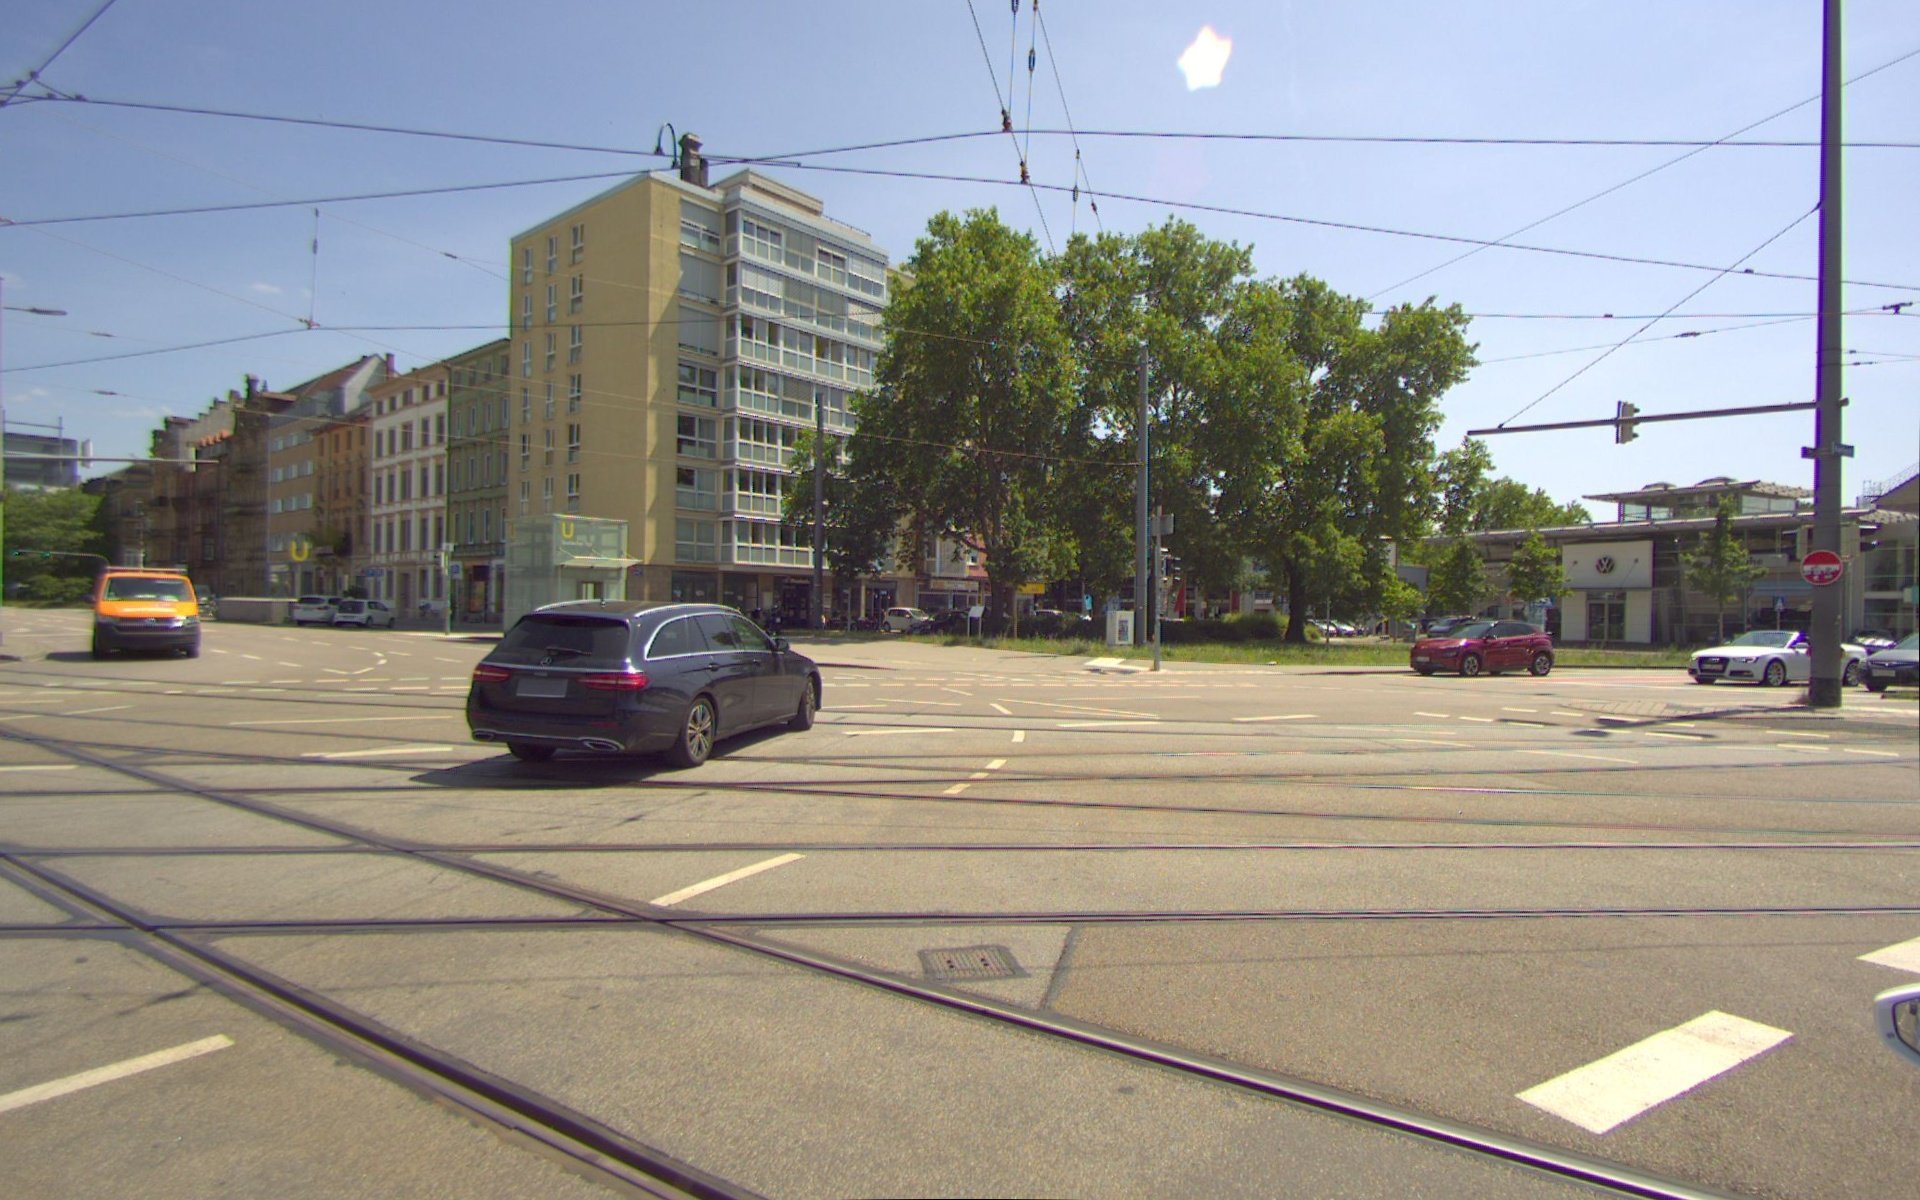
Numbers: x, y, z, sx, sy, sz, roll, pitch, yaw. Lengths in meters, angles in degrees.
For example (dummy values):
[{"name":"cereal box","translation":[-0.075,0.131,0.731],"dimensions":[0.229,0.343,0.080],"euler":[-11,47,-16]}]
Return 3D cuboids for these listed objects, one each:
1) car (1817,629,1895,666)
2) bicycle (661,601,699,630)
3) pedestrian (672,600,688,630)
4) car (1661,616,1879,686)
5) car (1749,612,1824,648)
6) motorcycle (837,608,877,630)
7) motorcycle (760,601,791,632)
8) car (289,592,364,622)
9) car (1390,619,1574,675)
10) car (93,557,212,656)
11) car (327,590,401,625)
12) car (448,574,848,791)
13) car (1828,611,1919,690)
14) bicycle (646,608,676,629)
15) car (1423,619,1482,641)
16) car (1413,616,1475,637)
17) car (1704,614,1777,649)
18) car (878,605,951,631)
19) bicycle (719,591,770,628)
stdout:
[{"name":"car","translation":[46.222,2.469,51.824],"dimensions":[3.956,1.730,1.910],"euler":[2,1,-32]},{"name":"bicycle","translation":[-14.069,0.785,50.583],"dimensions":[0.598,1.135,1.596],"euler":[1,-11,45]},{"name":"pedestrian","translation":[-14.091,0.760,50.506],"dimensions":[0.678,1.506,0.301],"euler":[1,0,-42]},{"name":"car","translation":[20.476,1.266,25.409],"dimensions":[4.771,1.601,2.074],"euler":[1,0,-19]},{"name":"car","translation":[44.561,1.625,54.172],"dimensions":[3.956,1.730,1.910],"euler":[2,1,-32]},{"name":"motorcycle","translation":[-4.850,0.874,47.299],"dimensions":[1.885,0.974,0.525],"euler":[1,0,28]},{"name":"motorcycle","translation":[-7.766,0.656,42.132],"dimensions":[0.949,1.238,2.801],"euler":[1,0,-17]},{"name":"car","translation":[-33.823,0.354,53.757],"dimensions":[1.804,1.530,3.996],"euler":[1,0,-6]},{"name":"car","translation":[15.021,1.342,28.936],"dimensions":[4.771,1.485,1.992],"euler":[1,0,-19]},{"name":"car","translation":[-19.031,0.137,23.860],"dimensions":[1.981,2.085,4.820],"euler":[1,0,-37]},{"name":"car","translation":[-31.214,0.385,52.728],"dimensions":[1.804,1.773,3.996],"euler":[1,0,-6]},{"name":"car","translation":[-2.829,0.627,10.478],"dimensions":[1.767,1.662,4.807],"euler":[2,1,13]},{"name":"car","translation":[22.453,1.136,22.701],"dimensions":[4.766,1.659,1.994],"euler":[1,0,-15]},{"name":"bicycle","translation":[-15.255,0.958,51.213],"dimensions":[0.426,1.040,1.436],"euler":[1,0,41]},{"name":"car","translation":[35.342,2.161,72.078],"dimensions":[4.278,1.530,1.757],"euler":[1,0,-32]},{"name":"car","translation":[37.778,2.029,78.506],"dimensions":[4.243,1.530,1.772],"euler":[1,0,23]},{"name":"car","translation":[43.430,1.737,55.899],"dimensions":[3.956,1.730,1.910],"euler":[2,1,-32]},{"name":"car","translation":[-2.708,1.064,59.457],"dimensions":[3.934,1.439,1.993],"euler":[1,0,35]},{"name":"bicycle","translation":[-11.045,0.479,51.415],"dimensions":[2.847,1.790,1.095],"euler":[1,0,41]}]
